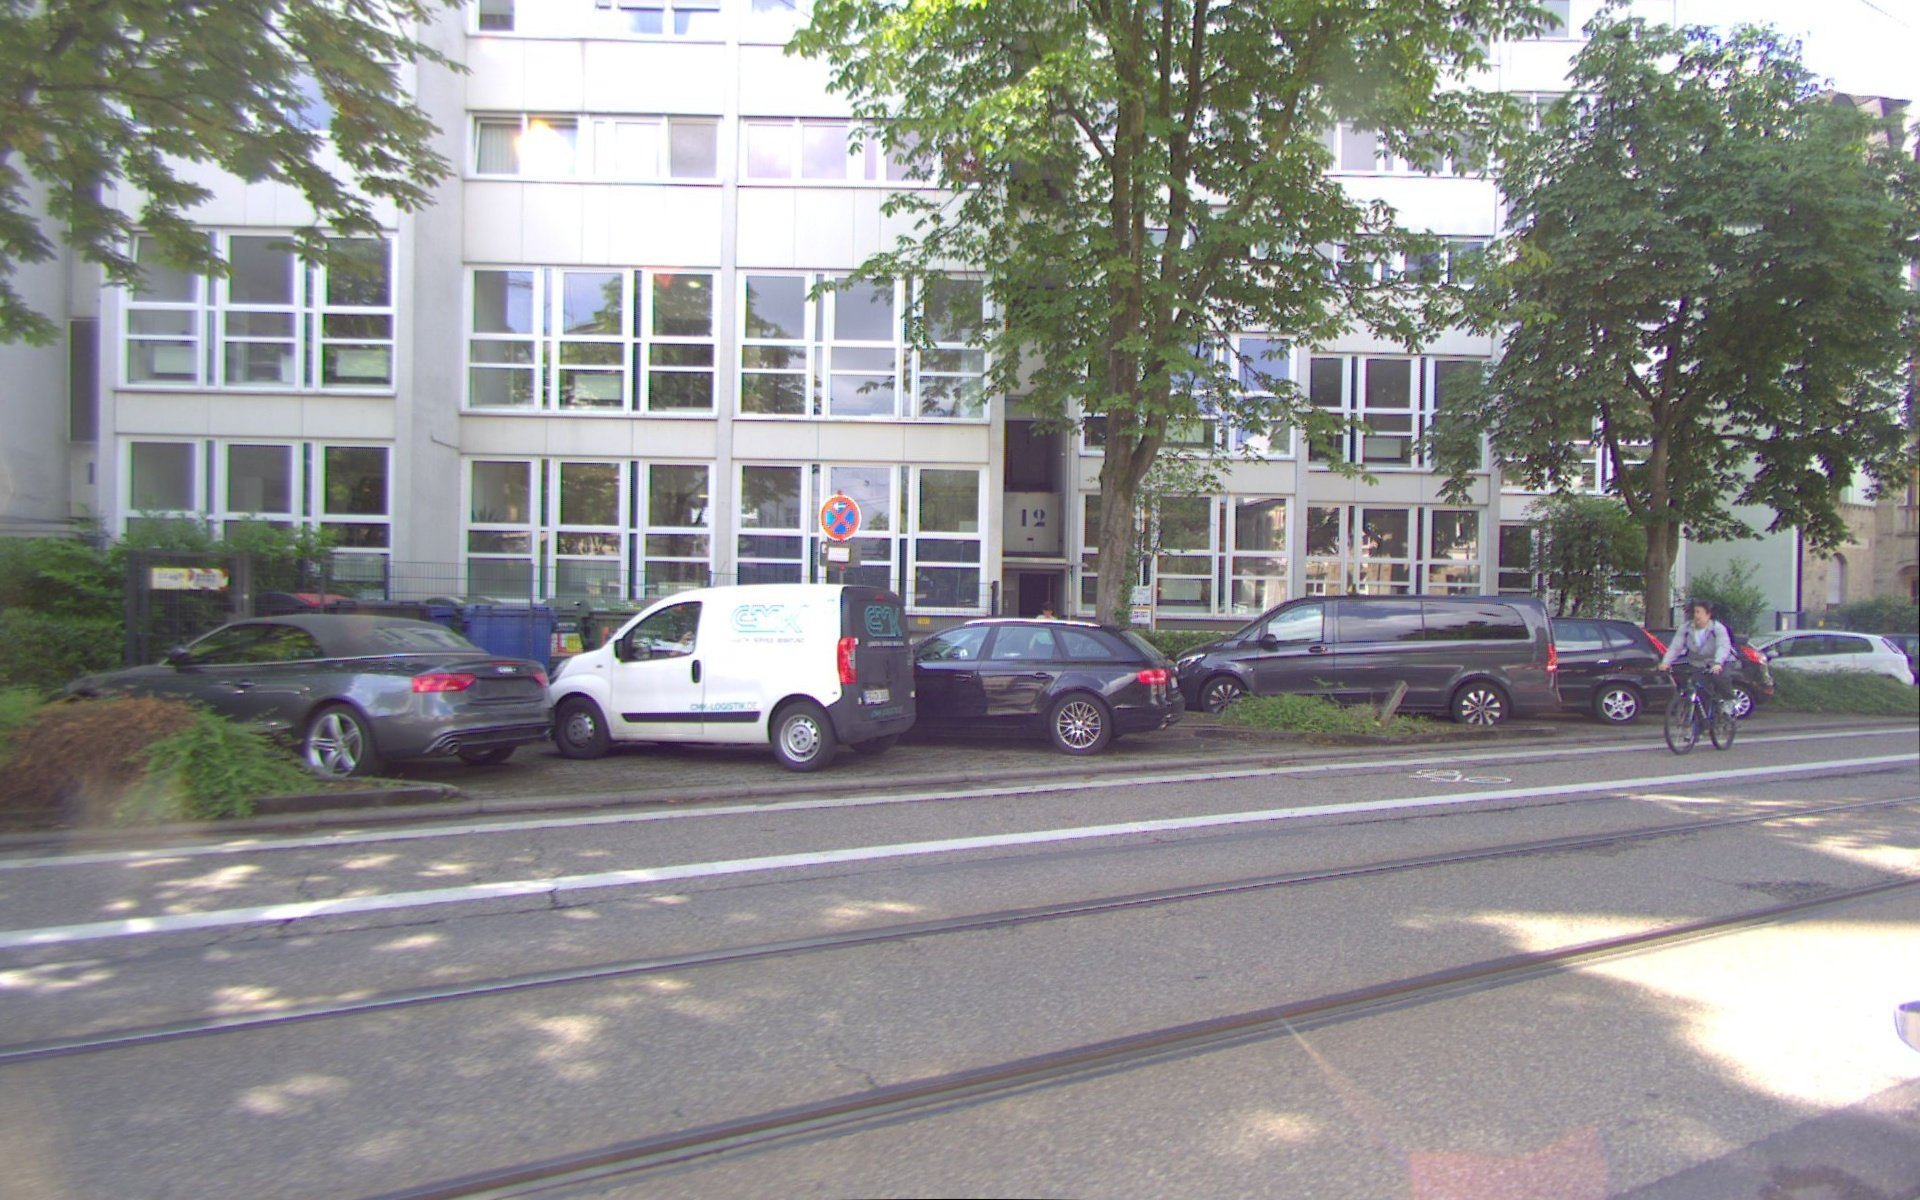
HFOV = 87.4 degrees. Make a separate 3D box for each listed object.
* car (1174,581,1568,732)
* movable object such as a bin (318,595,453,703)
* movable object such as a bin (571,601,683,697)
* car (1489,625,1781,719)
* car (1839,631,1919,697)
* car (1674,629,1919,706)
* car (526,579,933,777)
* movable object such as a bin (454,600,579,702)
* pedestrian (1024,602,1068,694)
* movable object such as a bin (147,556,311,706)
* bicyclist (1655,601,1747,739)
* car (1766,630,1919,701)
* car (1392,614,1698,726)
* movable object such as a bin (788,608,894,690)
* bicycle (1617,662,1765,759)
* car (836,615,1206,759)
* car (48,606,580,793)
[{"bbox_3d":[5.856,0.798,14.881,5.066,1.980,1.917,-1,-2,18],"label":"car"},{"bbox_3d":[-7.902,0.679,13.881,1.521,1.381,1.381,2,-3,-30],"label":"movable object such as a bin"},{"bbox_3d":[-5.132,0.763,15.444,1.424,1.398,1.187,2,-3,-29],"label":"movable object such as a bin"},{"bbox_3d":[11.594,1.204,17.589,3.922,1.503,1.741,-1,-2,22],"label":"car"},{"bbox_3d":[23.289,1.479,23.322,3.893,1.503,1.846,-1,-2,21],"label":"car"},{"bbox_3d":[17.367,1.368,20.885,3.732,1.503,1.698,-1,-2,19],"label":"car"},{"bbox_3d":[-2.295,0.728,10.171,3.643,1.715,1.760,-1,-2,21],"label":"car"},{"bbox_3d":[-6.498,0.751,14.690,1.521,1.381,1.381,2,-3,-30],"label":"movable object such as a bin"},{"bbox_3d":[1.550,0.843,17.999,0.632,1.597,0.882,1,-1,14],"label":"pedestrian"},{"bbox_3d":[-9.421,0.421,13.066,1.521,1.805,1.381,2,-3,-30],"label":"movable object such as a bin"},{"bbox_3d":[8.929,0.828,12.109,0.733,1.597,0.638,2,-1,-29],"label":"bicyclist"},{"bbox_3d":[20.390,1.428,22.166,3.735,1.503,1.697,-1,-2,25],"label":"car"},{"bbox_3d":[9.072,1.066,15.977,3.921,1.613,1.741,-1,-2,20],"label":"car"},{"bbox_3d":[-1.983,0.818,16.666,1.423,1.300,1.164,2,-3,-27],"label":"movable object such as a bin"},{"bbox_3d":[8.798,1.290,12.065,1.976,1.054,0.652,2,-1,-29],"label":"bicycle"},{"bbox_3d":[0.740,0.925,11.540,3.921,1.436,1.761,-1,-2,18],"label":"car"},{"bbox_3d":[-5.657,0.807,8.979,3.919,1.436,1.724,0,-2,13],"label":"car"}]
